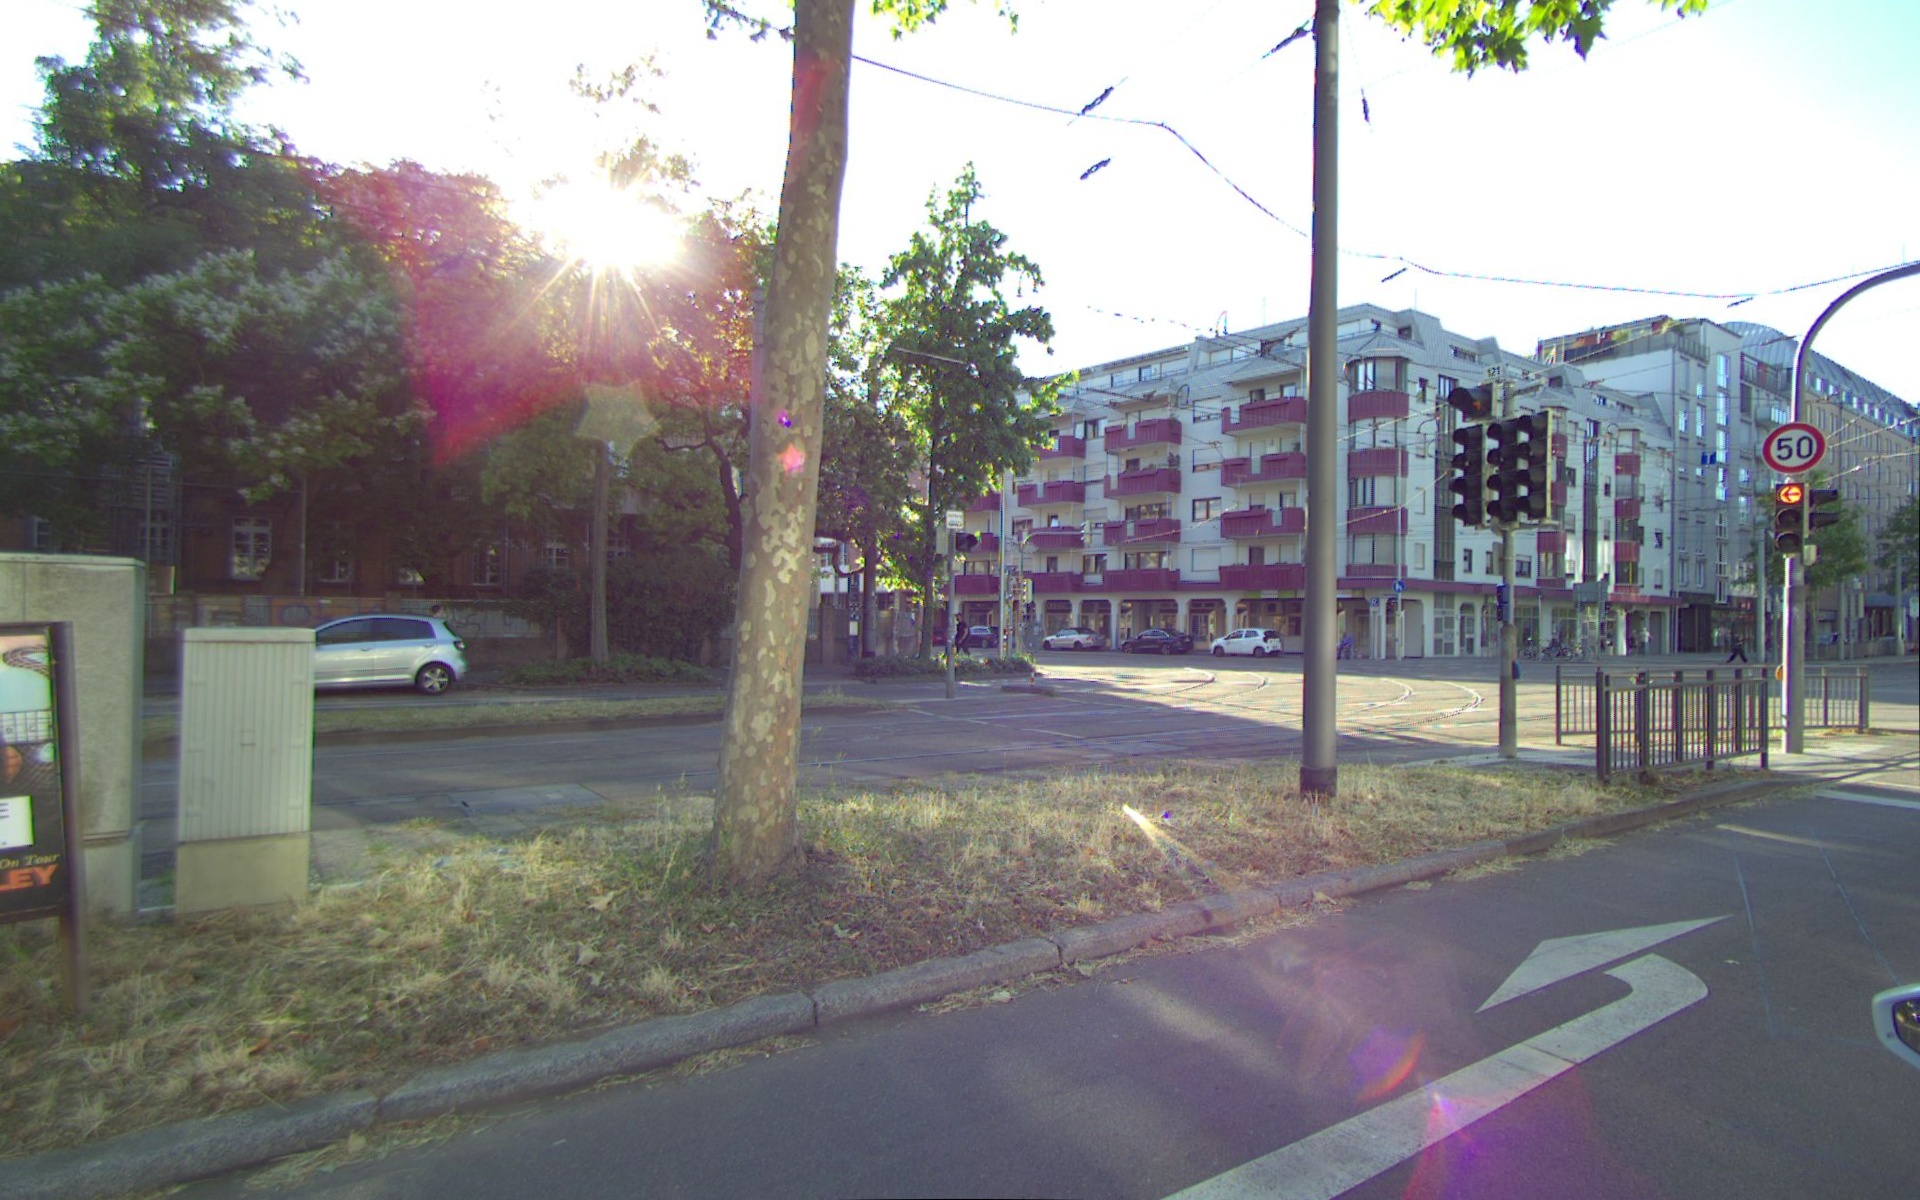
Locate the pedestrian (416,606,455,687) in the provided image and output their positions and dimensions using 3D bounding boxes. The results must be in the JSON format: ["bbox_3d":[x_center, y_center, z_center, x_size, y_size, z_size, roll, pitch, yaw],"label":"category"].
[{"bbox_3d":[-11.353,1.000,21.743,0.626,1.687,0.563,1,1,-37],"label":"pedestrian"}]

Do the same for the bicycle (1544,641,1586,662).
[{"bbox_3d":[31.424,2.675,52.203,0.548,0.998,1.830,1,-1,-36],"label":"bicycle"}]

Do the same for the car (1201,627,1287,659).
[{"bbox_3d":[14.892,2.248,52.765,1.986,1.576,3.950,2,-2,-42],"label":"car"}]

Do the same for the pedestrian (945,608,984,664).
[{"bbox_3d":[0.148,1.174,32.564,1.010,1.775,0.728,1,-1,-38],"label":"pedestrian"}]

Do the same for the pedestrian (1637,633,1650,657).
[{"bbox_3d":[43.422,2.859,63.823,0.582,1.514,0.530,1,-1,-38],"label":"pedestrian"}]

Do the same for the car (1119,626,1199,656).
[{"bbox_3d":[11.162,2.273,56.609,1.986,1.576,4.072,2,-2,-42],"label":"car"}]

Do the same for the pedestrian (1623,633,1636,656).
[{"bbox_3d":[42.935,2.848,64.413,0.582,1.514,0.530,1,-1,-38],"label":"pedestrian"}]

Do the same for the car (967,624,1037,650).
[{"bbox_3d":[2.723,2.421,66.235,1.986,1.576,4.527,2,-2,-42],"label":"car"}]

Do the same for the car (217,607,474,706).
[{"bbox_3d":[-11.957,1.044,19.627,4.062,1.641,2.065,2,1,-38],"label":"car"}]

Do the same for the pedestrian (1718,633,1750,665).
[{"bbox_3d":[38.917,2.439,50.507,0.684,1.564,1.044,1,-1,-20],"label":"pedestrian"}]

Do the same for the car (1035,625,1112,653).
[{"bbox_3d":[6.889,2.357,61.196,1.986,1.576,4.527,2,-2,-42],"label":"car"}]

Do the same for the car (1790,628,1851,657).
[{"bbox_3d":[53.289,2.606,62.184,4.219,1.695,1.942,1,-1,-36],"label":"car"}]

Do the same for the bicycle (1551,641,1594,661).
[{"bbox_3d":[31.981,2.653,52.454,0.548,0.998,1.830,1,-1,-36],"label":"bicycle"}]

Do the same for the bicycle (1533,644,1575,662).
[{"bbox_3d":[30.411,2.683,51.449,0.547,0.865,1.833,1,-1,-32],"label":"bicycle"}]

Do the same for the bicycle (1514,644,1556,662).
[{"bbox_3d":[29.494,2.688,51.528,0.547,0.865,1.833,1,-1,-32],"label":"bicycle"}]

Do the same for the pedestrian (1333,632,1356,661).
[{"bbox_3d":[19.110,2.313,49.928,0.848,1.402,0.831,0,-1,45],"label":"pedestrian"}]

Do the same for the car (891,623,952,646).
[{"bbox_3d":[-2.808,2.454,72.207,1.986,1.576,4.527,2,-2,-42],"label":"car"}]
